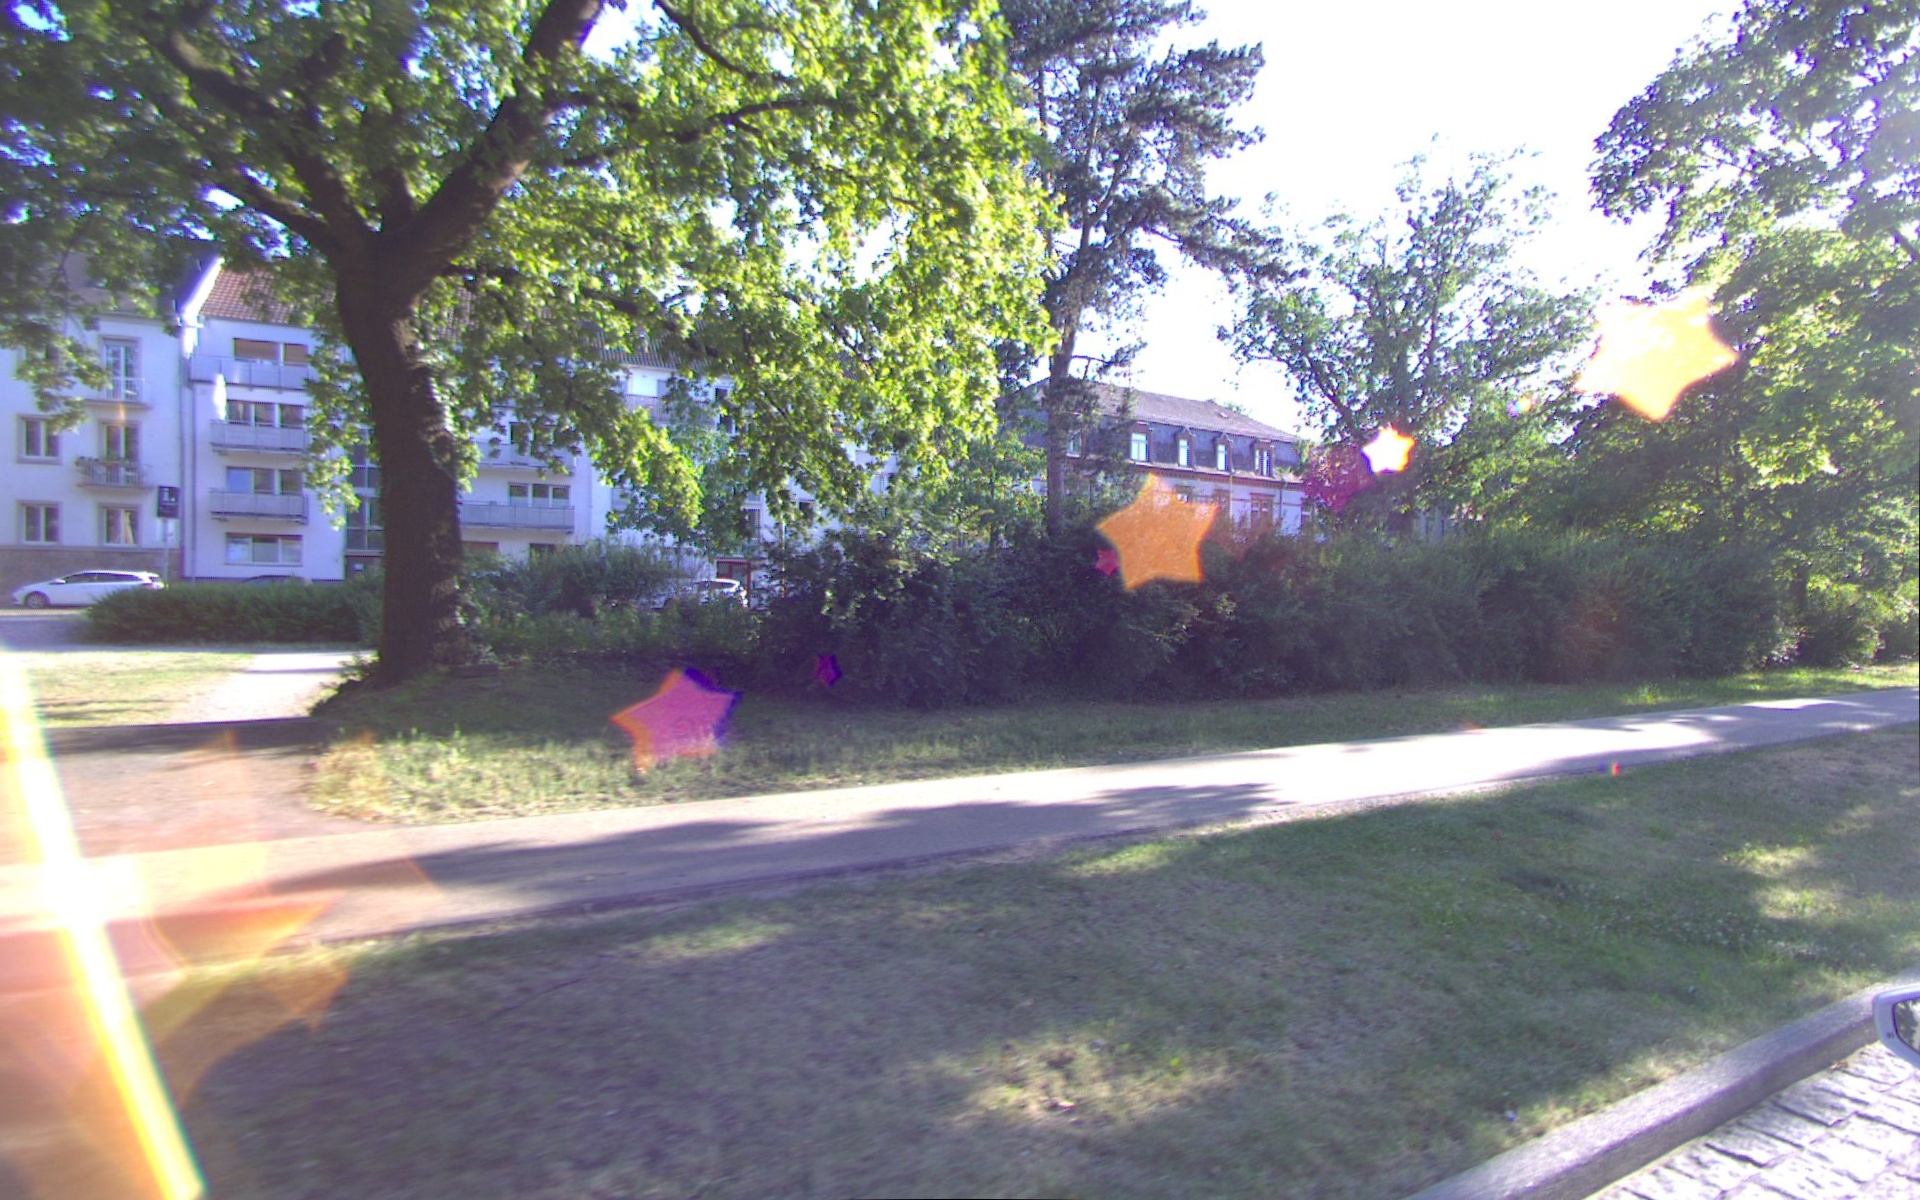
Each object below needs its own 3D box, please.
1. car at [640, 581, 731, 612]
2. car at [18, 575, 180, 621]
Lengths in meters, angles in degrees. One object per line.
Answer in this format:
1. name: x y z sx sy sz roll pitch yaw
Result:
1. car: -12.570 -0.150 46.036 3.808 1.333 1.629 1 1 -25
2. car: -32.039 -0.063 37.523 4.156 1.603 1.927 1 1 -23
